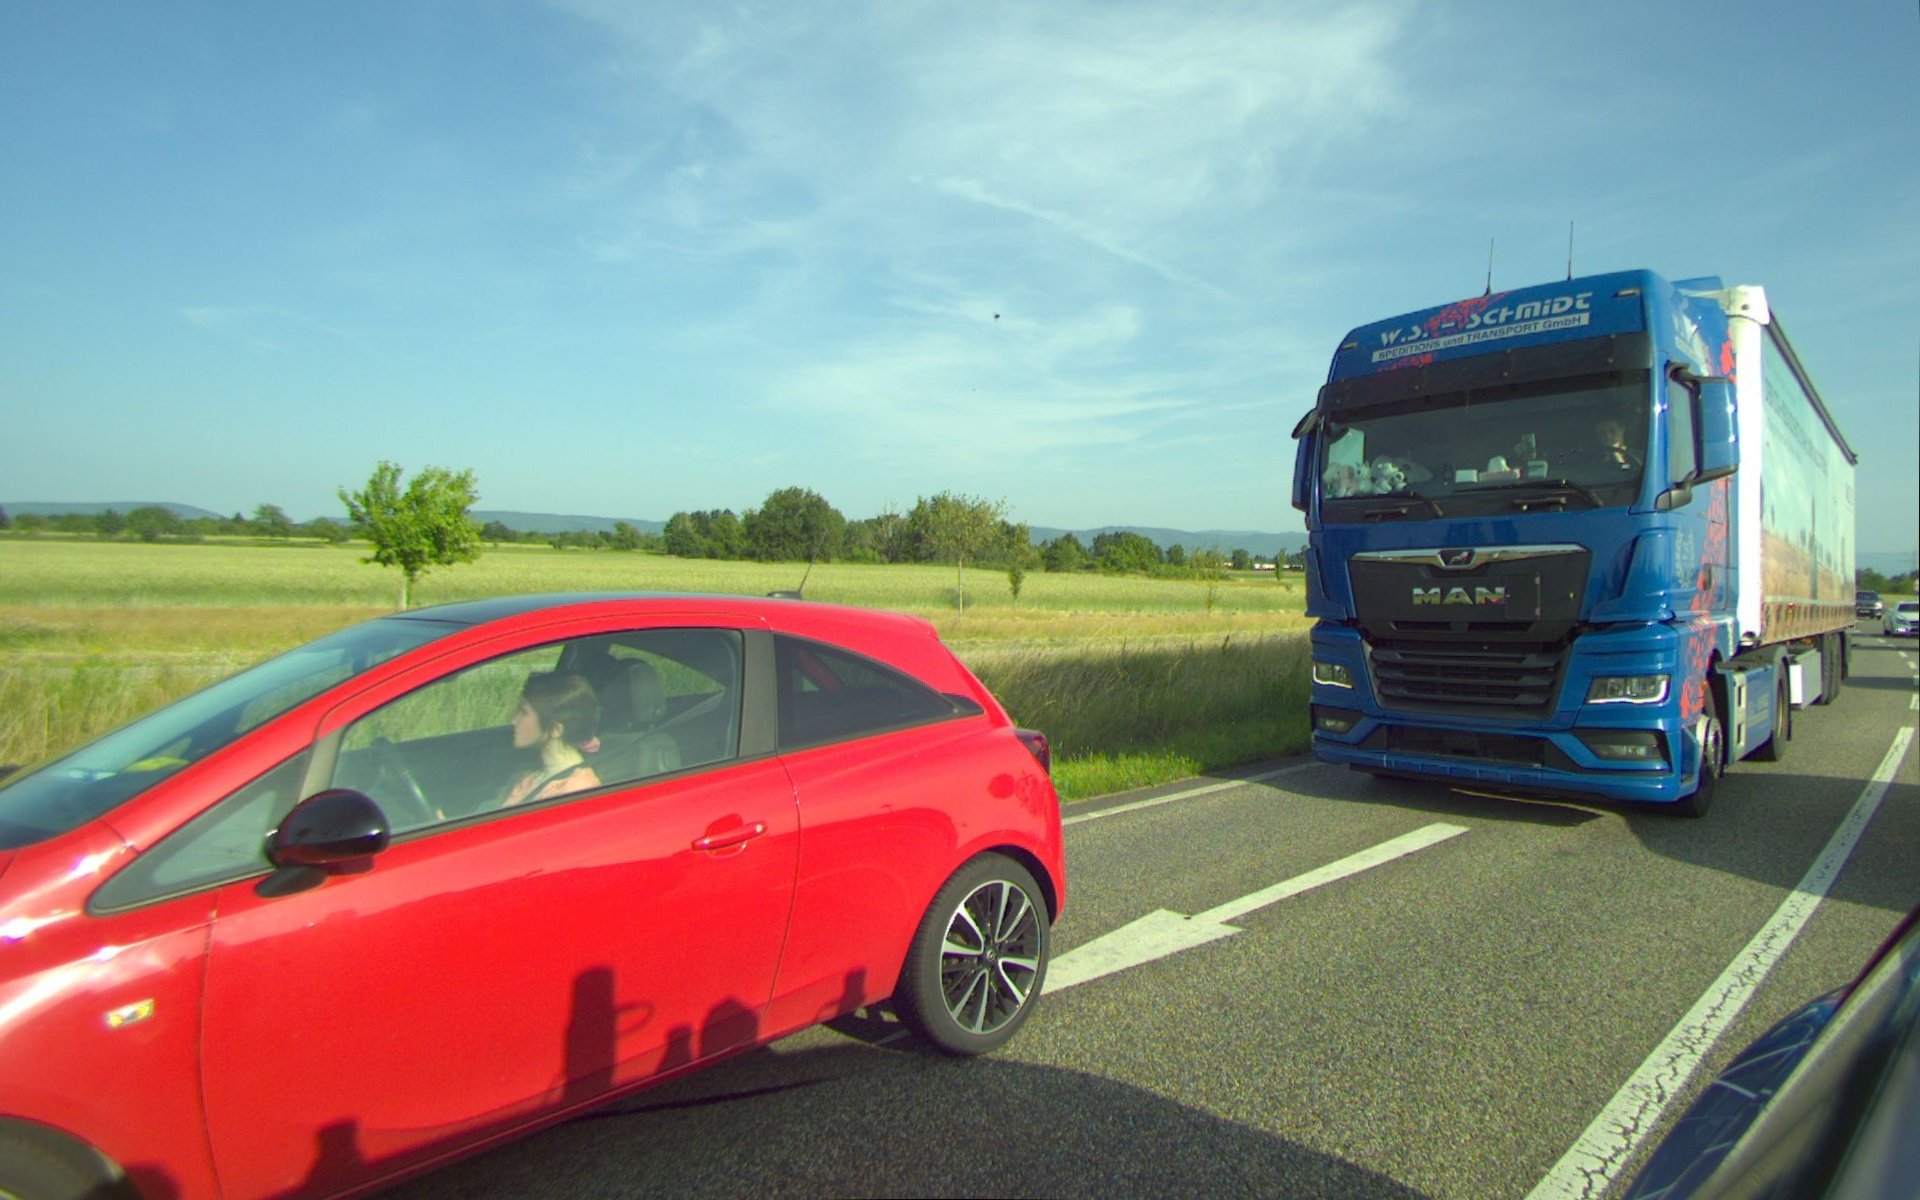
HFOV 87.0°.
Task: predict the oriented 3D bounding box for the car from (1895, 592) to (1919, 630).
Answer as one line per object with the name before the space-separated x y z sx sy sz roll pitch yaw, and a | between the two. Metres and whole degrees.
car | 37.682 0.406 39.472 1.551 1.417 3.977 2 2 40

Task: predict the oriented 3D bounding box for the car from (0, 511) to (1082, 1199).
car | -1.487 0.614 2.840 3.689 1.568 1.698 0 2 -44

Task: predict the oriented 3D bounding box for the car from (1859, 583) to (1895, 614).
car | 59.622 -0.100 65.825 1.551 1.944 3.977 2 1 40

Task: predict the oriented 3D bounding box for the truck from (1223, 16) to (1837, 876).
truck | 5.181 -0.890 8.748 3.301 4.716 5.640 0 1 44

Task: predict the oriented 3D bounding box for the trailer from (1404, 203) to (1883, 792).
trailer | 10.244 -0.949 13.956 3.282 4.739 12.939 0 1 44
